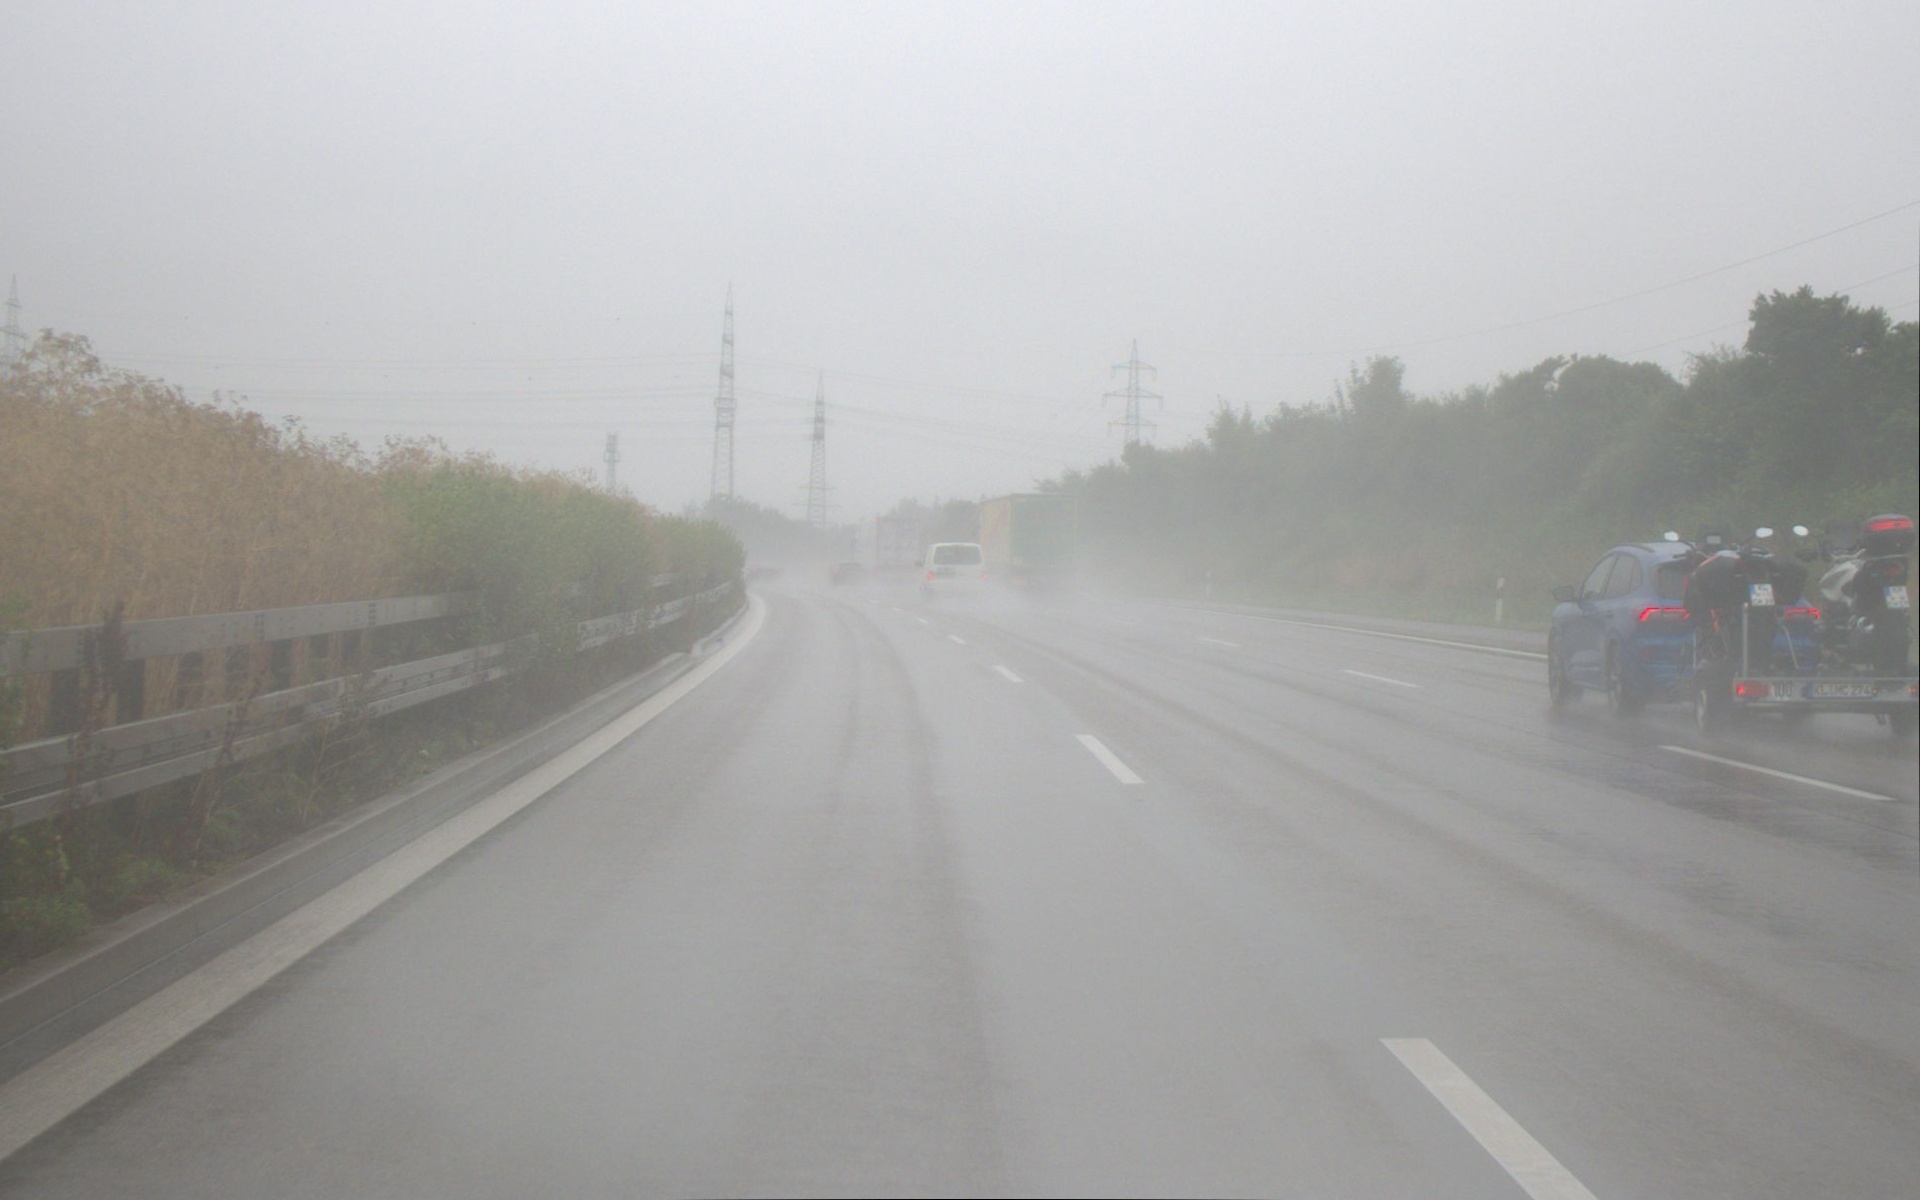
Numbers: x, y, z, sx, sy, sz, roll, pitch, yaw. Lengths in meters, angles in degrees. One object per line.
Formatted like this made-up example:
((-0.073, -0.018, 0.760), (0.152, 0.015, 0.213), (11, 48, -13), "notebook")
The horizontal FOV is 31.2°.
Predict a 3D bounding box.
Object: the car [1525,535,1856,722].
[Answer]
((6.753, 0.245, 32.351), (1.993, 1.613, 4.992), (0, 0, -1), "car")

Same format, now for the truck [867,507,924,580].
((-3.936, -3.381, 207.385), (3.232, 4.297, 8.838), (0, 1, -2), "truck")

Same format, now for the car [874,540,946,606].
((-1.577, -0.846, 106.441), (1.993, 2.007, 4.001), (0, 1, -4), "car")

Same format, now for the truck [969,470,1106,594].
((2.929, -2.568, 136.560), (4.188, 4.614, 16.107), (0, 0, -3), "truck")

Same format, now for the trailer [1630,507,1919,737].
((6.828, 0.170, 28.259), (1.979, 1.779, 3.189), (0, 0, -1), "trailer")
